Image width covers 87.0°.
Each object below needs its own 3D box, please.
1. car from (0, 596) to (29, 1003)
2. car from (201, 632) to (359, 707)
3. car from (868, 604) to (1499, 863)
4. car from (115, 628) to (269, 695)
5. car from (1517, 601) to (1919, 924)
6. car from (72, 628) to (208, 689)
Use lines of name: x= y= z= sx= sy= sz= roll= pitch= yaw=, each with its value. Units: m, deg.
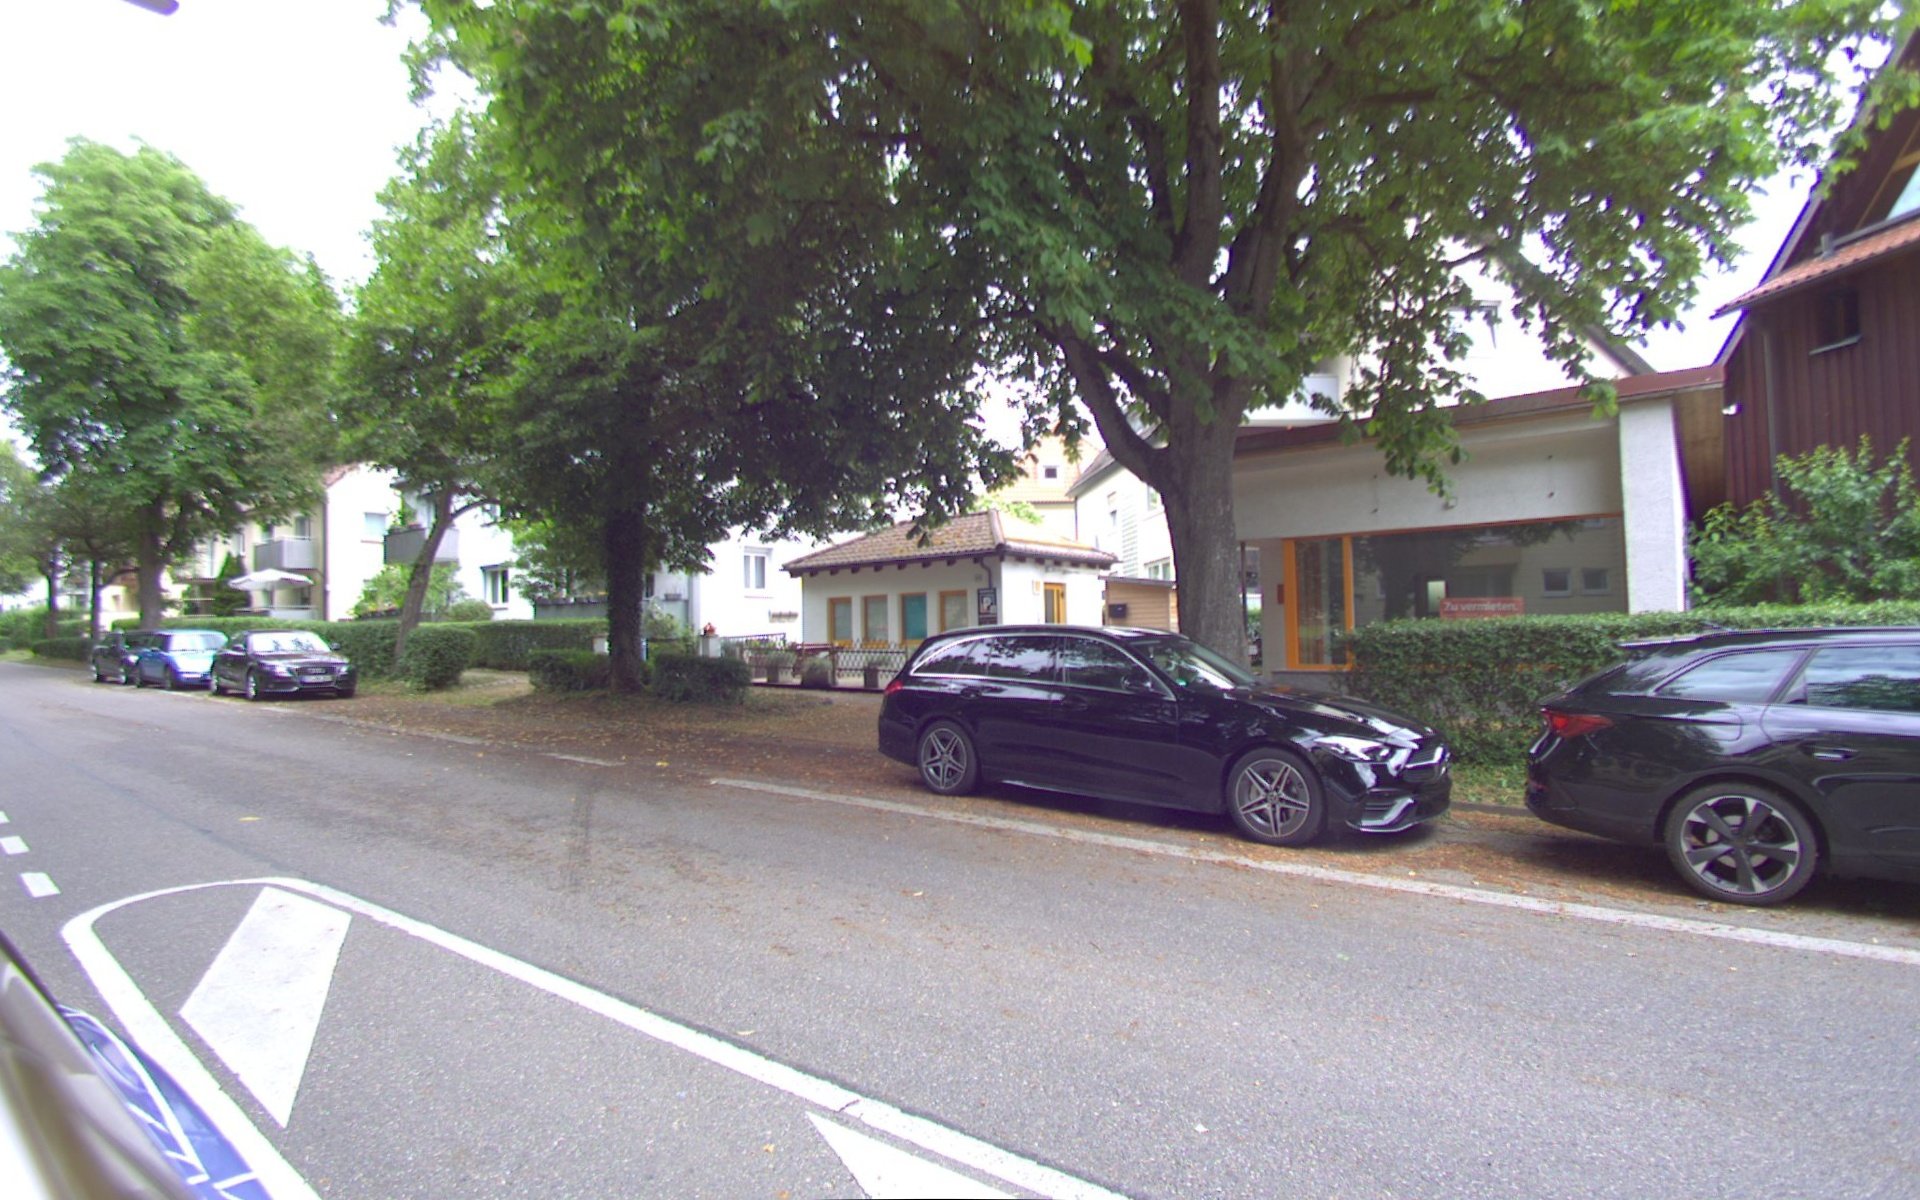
car: x=-5.915 y=0.779 z=4.588 sx=4.612 sy=1.511 sz=1.973 roll=-2 pitch=-3 yaw=41
car: x=-14.215 y=1.382 z=21.085 sx=4.169 sy=1.414 sz=1.713 roll=-2 pitch=-3 yaw=41
car: x=1.562 y=0.868 z=8.192 sx=4.612 sy=1.511 sz=1.973 roll=-2 pitch=-3 yaw=41
car: x=-18.910 y=1.468 z=24.852 sx=4.558 sy=1.512 sz=1.866 roll=-2 pitch=-3 yaw=37
car: x=5.457 y=0.759 z=4.980 sx=4.536 sy=1.497 sz=1.674 roll=-2 pitch=-3 yaw=38
car: x=-22.598 y=1.567 z=27.844 sx=4.558 sy=1.545 sz=1.866 roll=-2 pitch=-3 yaw=37
